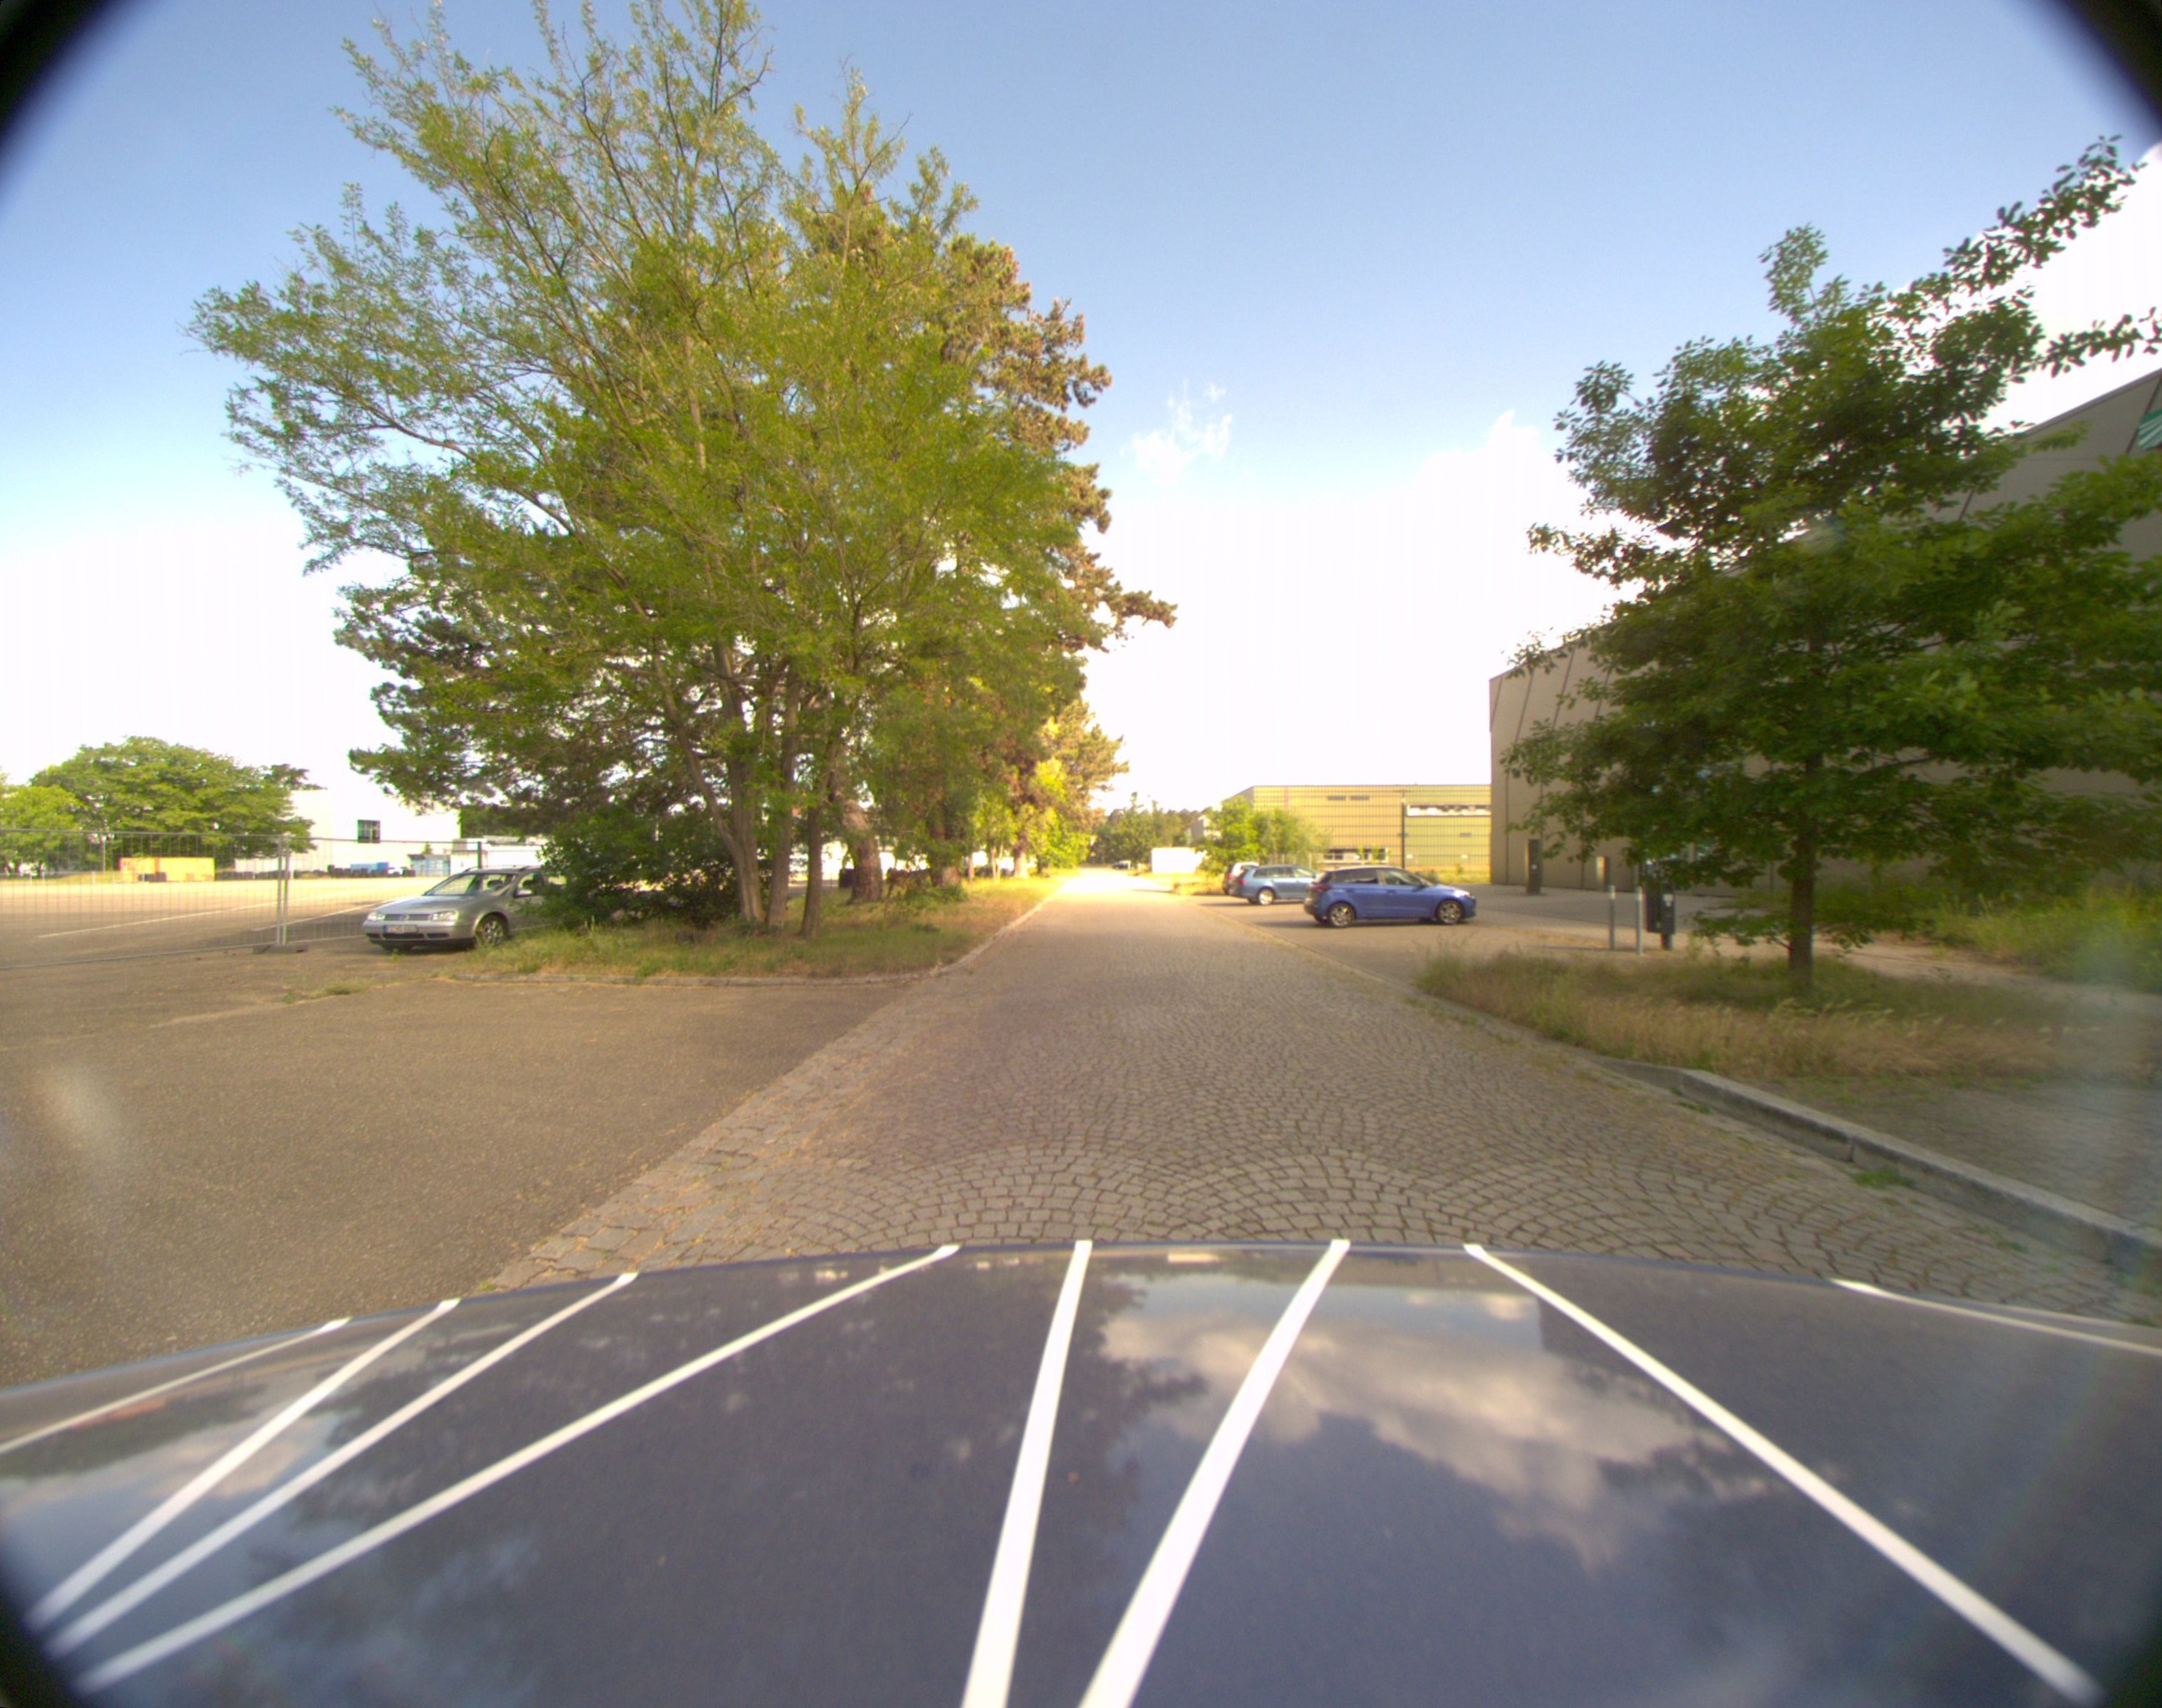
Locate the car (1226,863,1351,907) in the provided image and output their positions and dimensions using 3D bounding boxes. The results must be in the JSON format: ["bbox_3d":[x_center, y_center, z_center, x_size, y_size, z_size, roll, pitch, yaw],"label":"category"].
[{"bbox_3d":[7.706,1.137,28.468,4.179,1.465,1.734,-2,0,-1],"label":"car"}]

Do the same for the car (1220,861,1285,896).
[{"bbox_3d":[8.052,1.132,35.813,2.652,1.559,1.482,-2,0,0],"label":"car"}]

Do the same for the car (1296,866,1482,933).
[{"bbox_3d":[7.575,1.106,18.974,3.917,1.459,1.735,-2,0,4],"label":"car"}]

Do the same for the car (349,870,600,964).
[{"bbox_3d":[-10.980,1.057,14.181,1.578,1.435,3.986,0,0,-2],"label":"car"}]
